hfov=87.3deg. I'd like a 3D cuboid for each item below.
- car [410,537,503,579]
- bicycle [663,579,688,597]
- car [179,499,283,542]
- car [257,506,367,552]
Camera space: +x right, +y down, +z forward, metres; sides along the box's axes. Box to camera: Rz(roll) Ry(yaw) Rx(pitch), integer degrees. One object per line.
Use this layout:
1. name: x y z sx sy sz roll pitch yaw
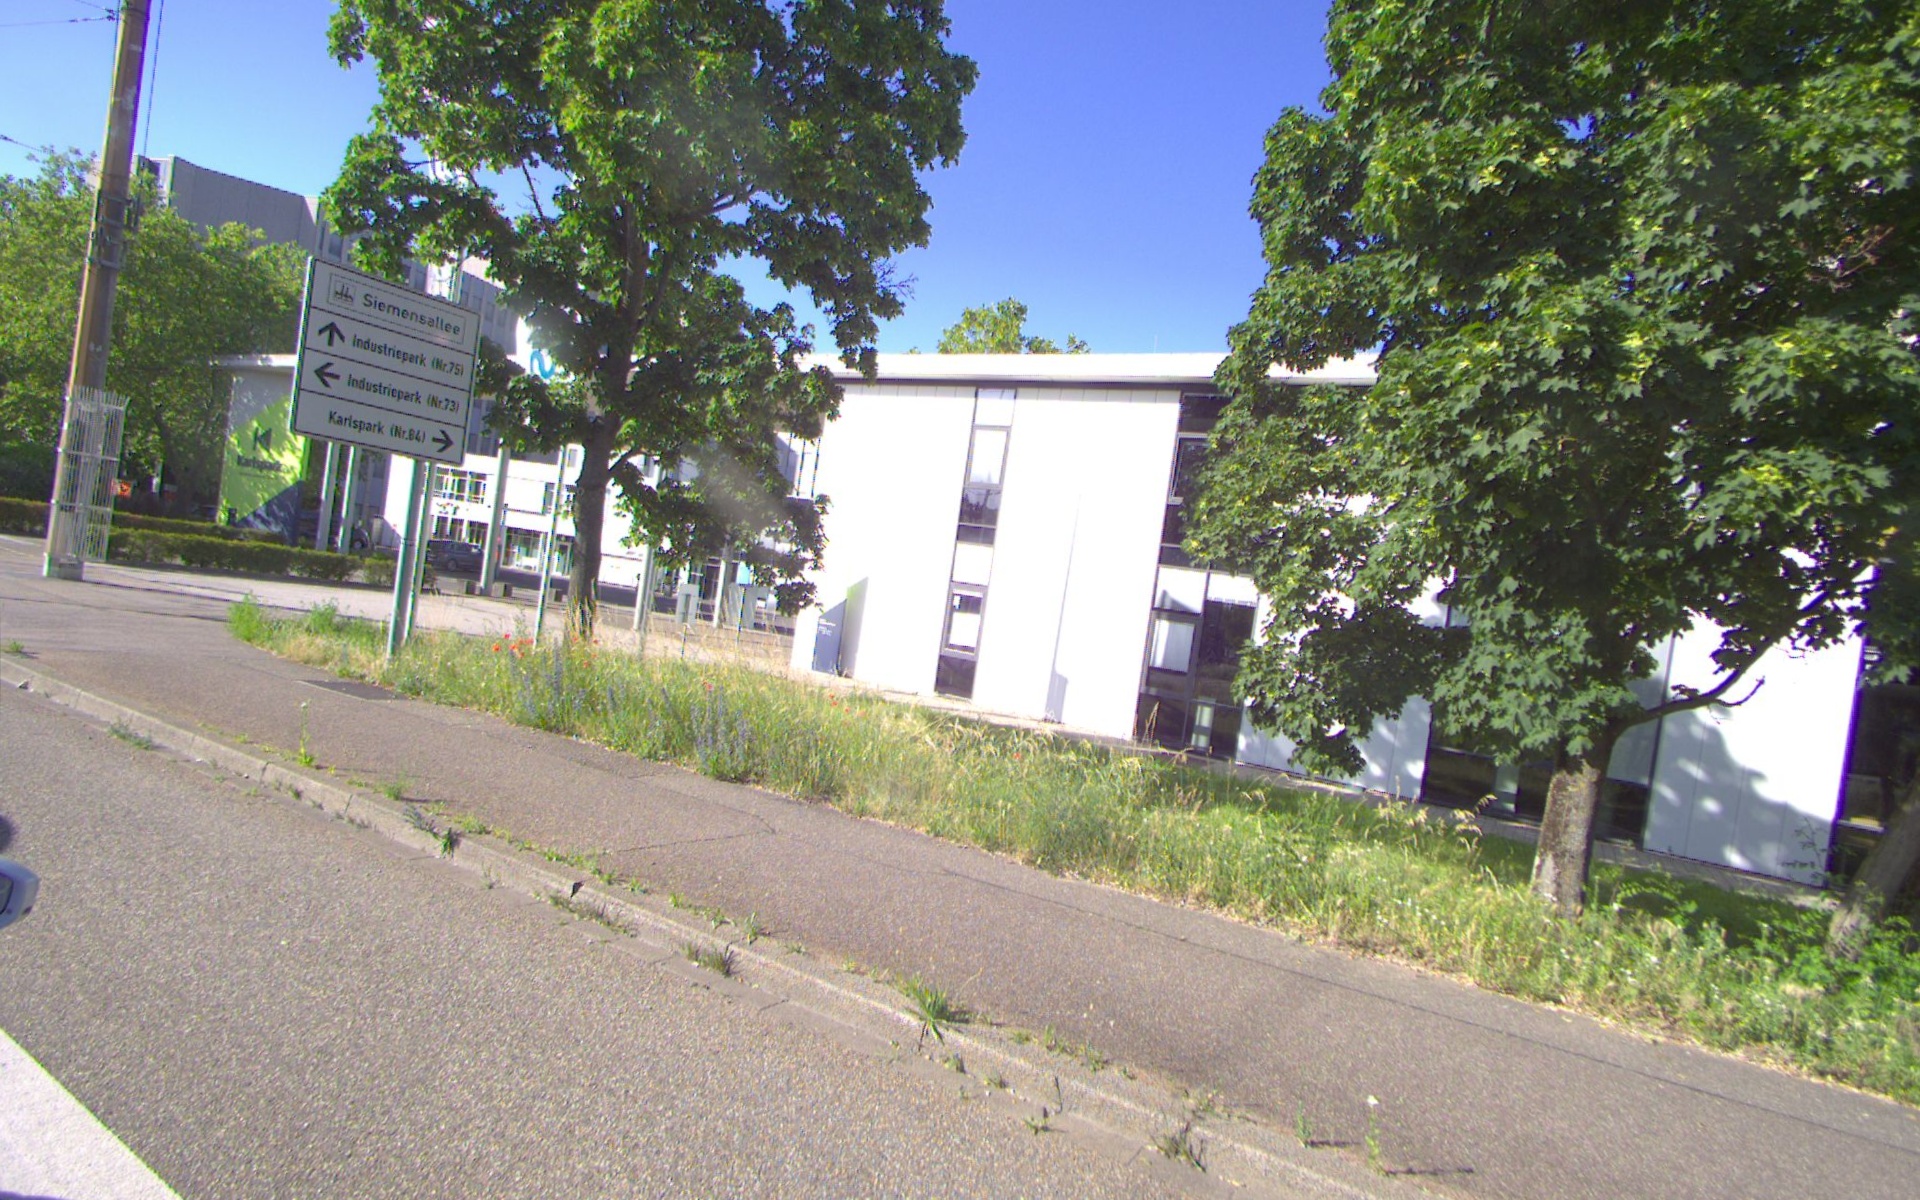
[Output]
1. car: -26.681 -2.205 53.449 1.918 1.597 4.000 8 -1 23
2. bicycle: -20.262 -0.856 71.667 1.591 1.016 0.566 8 0 17
3. car: -42.658 -4.633 58.966 1.861 1.706 4.468 8 -1 26
4. car: -36.283 -3.948 56.507 2.052 1.778 4.900 8 -1 17
